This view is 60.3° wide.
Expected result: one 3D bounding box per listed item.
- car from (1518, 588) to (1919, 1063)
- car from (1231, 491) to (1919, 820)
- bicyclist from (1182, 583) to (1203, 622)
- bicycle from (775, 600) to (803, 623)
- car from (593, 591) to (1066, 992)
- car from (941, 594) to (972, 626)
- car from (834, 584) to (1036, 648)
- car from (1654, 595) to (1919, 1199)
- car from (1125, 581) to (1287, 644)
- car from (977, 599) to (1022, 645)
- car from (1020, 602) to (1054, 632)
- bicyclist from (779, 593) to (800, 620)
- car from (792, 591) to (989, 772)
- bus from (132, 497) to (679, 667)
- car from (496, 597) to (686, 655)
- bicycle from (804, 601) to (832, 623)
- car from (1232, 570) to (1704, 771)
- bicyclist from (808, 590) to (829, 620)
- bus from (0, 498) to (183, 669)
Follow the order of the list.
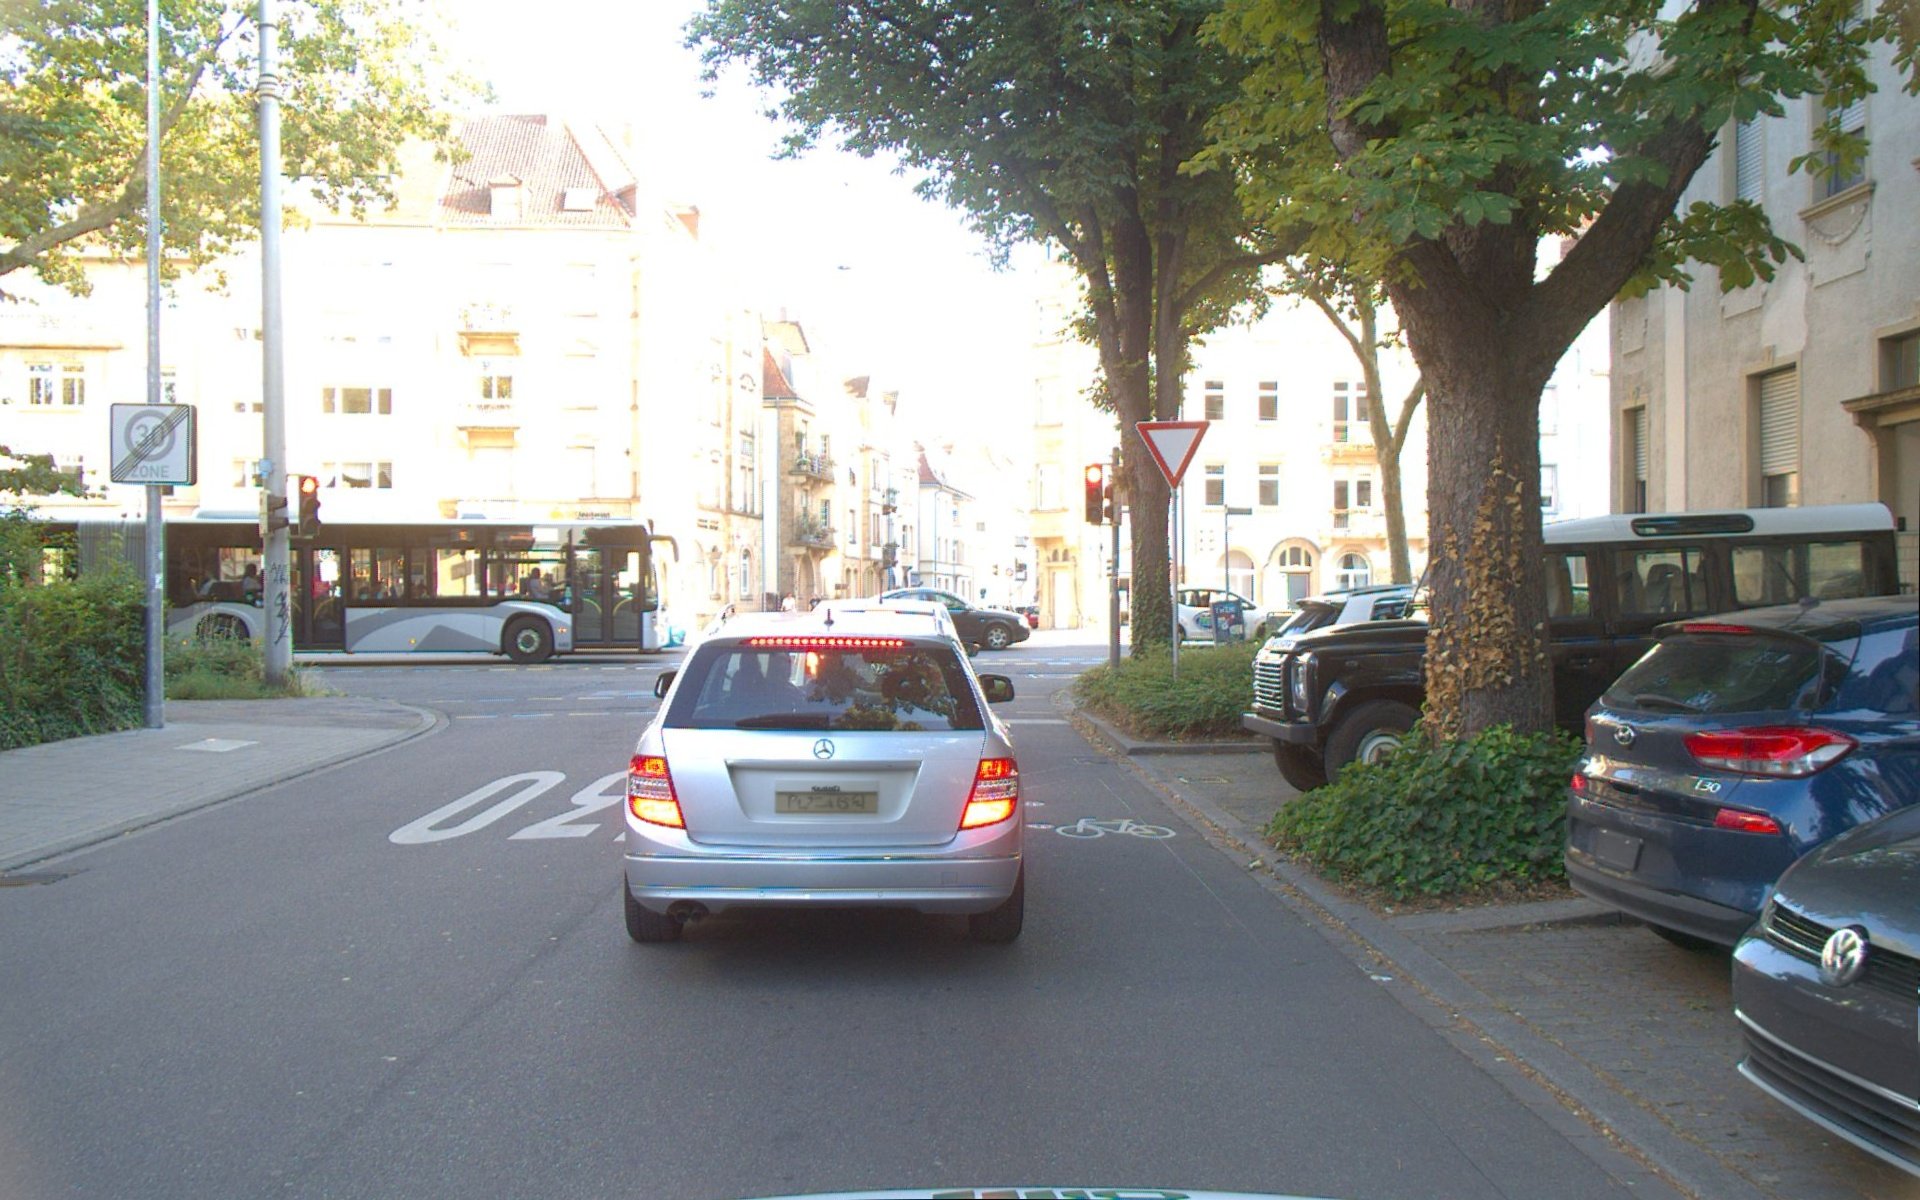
[{"bbox_3d":[4.240,0.687,6.247,3.650,1.477,1.707,-1,0,-5],"label":"car"},{"bbox_3d":[4.309,0.353,11.832,4.377,2.071,1.699,-1,0,-4],"label":"car"},{"bbox_3d":[8.503,0.089,60.450,0.631,1.451,0.636,0,0,-6],"label":"bicyclist"},{"bbox_3d":[-7.721,0.515,74.866,0.754,0.956,1.942,1,1,10],"label":"bicycle"},{"bbox_3d":[-0.580,0.704,8.427,1.741,1.477,4.546,0,0,-3],"label":"car"},{"bbox_3d":[-0.243,0.698,118.960,1.749,2.242,4.003,0,1,7],"label":"car"},{"bbox_3d":[-0.614,0.360,39.268,4.602,1.453,1.715,0,0,-9],"label":"car"},{"bbox_3d":[4.036,0.696,4.025,3.973,1.477,1.721,-1,0,-5],"label":"car"},{"bbox_3d":[5.943,0.294,40.111,3.618,1.475,1.513,0,0,-9],"label":"car"},{"bbox_3d":[2.107,1.122,87.548,1.987,2.319,4.003,0,1,7],"label":"car"},{"bbox_3d":[4.831,1.056,103.628,1.796,1.775,4.003,0,1,7],"label":"car"},{"bbox_3d":[-7.704,0.289,74.943,0.754,1.177,0.753,1,0,10],"label":"bicyclist"},{"bbox_3d":[-0.659,0.658,15.656,1.587,1.472,4.342,0,0,-3],"label":"car"},{"bbox_3d":[-11.042,-0.403,34.060,10.259,3.257,2.906,-1,0,-9],"label":"bus"},{"bbox_3d":[-8.363,0.574,37.776,4.119,1.258,1.715,0,0,-9],"label":"car"},{"bbox_3d":[-6.426,0.527,74.977,0.754,0.950,1.942,1,1,10],"label":"bicycle"},{"bbox_3d":[4.444,0.585,14.789,3.650,1.597,1.707,-1,0,-5],"label":"car"},{"bbox_3d":[-6.424,0.228,74.976,0.754,1.312,0.753,1,0,10],"label":"bicyclist"},{"bbox_3d":[-20.072,-0.309,32.602,8.024,3.257,2.906,-1,0,-9],"label":"bus"}]
